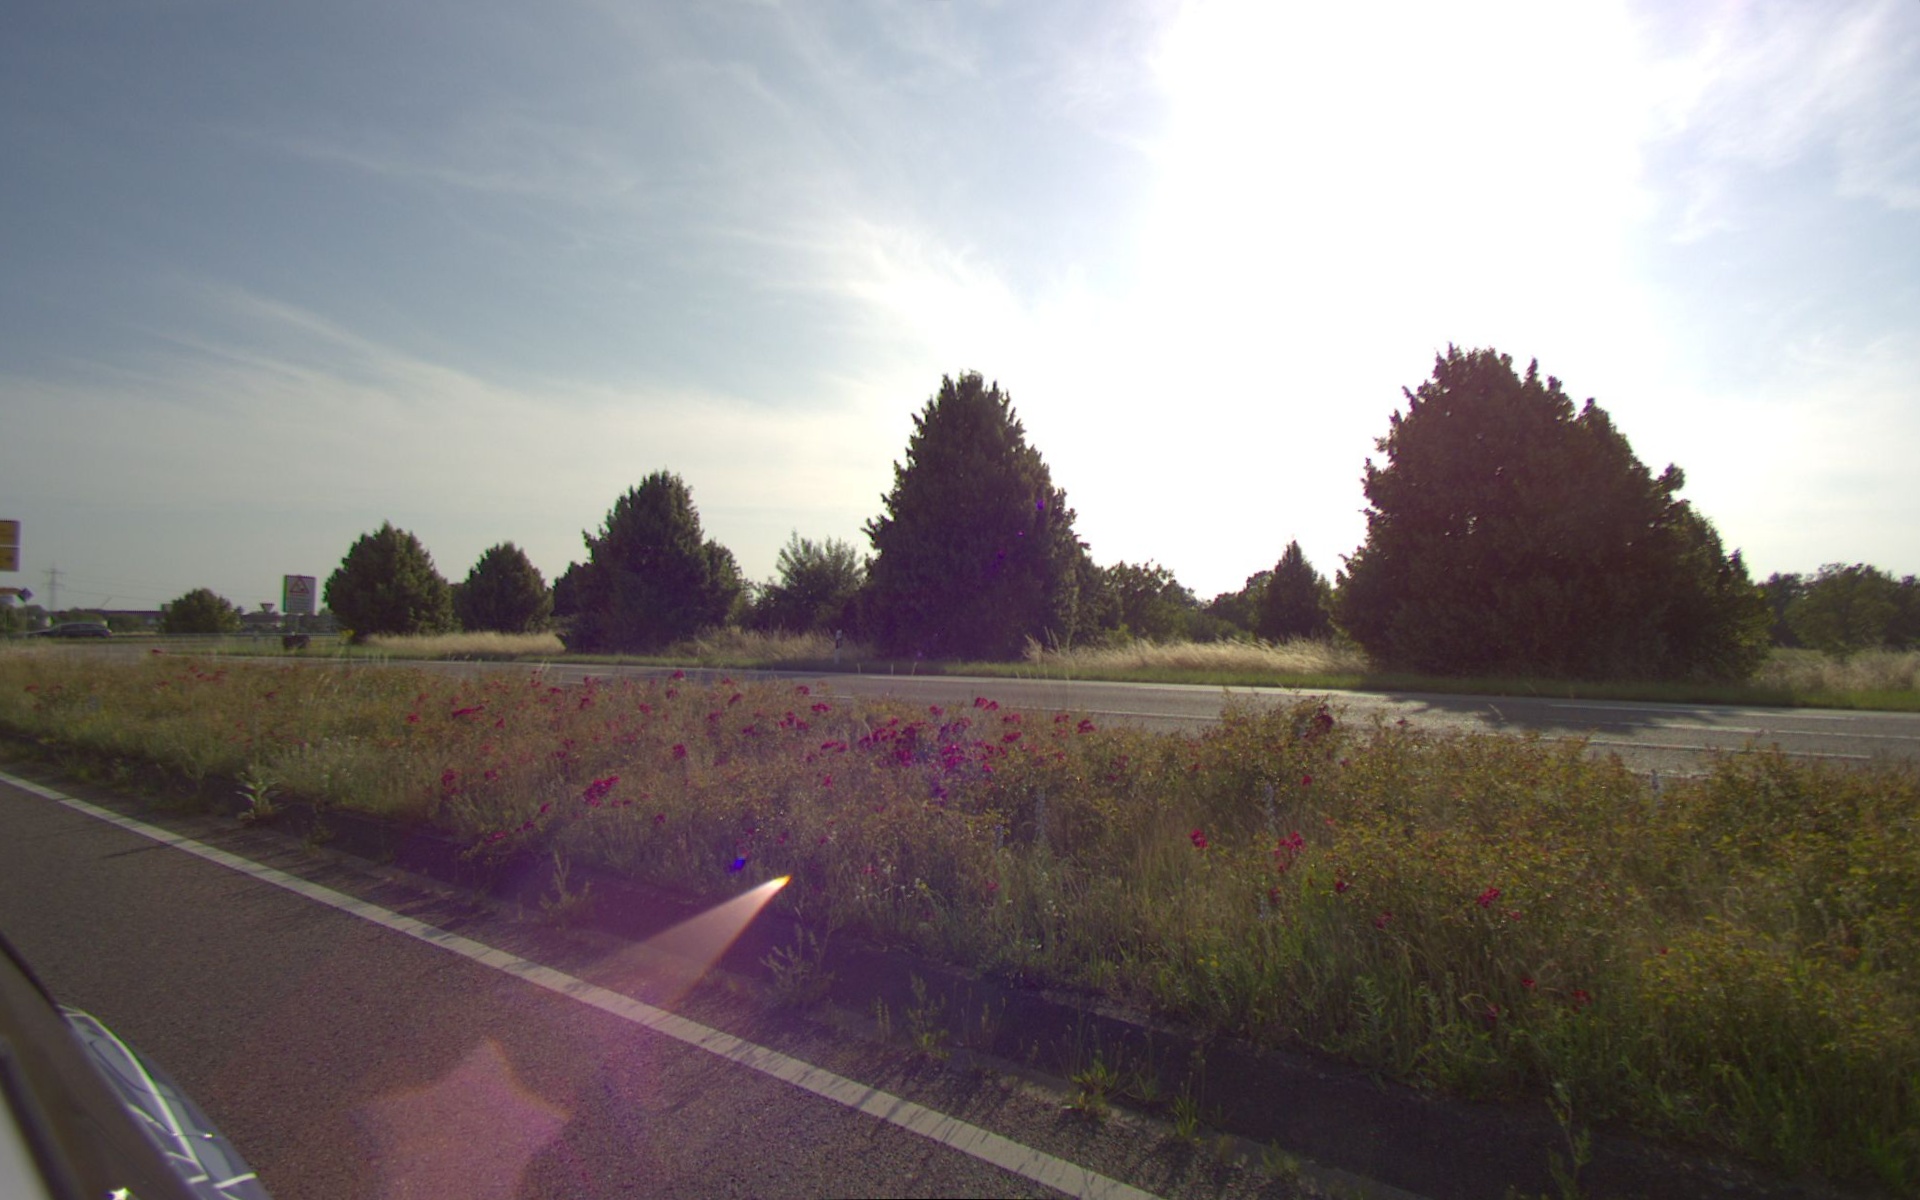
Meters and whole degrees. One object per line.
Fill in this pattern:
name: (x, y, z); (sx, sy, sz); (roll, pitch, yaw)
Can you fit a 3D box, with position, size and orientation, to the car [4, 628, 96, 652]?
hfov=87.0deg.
car: (-57.953, 2.528, 64.522); (1.946, 1.409, 3.972); (-1, -1, 21)
